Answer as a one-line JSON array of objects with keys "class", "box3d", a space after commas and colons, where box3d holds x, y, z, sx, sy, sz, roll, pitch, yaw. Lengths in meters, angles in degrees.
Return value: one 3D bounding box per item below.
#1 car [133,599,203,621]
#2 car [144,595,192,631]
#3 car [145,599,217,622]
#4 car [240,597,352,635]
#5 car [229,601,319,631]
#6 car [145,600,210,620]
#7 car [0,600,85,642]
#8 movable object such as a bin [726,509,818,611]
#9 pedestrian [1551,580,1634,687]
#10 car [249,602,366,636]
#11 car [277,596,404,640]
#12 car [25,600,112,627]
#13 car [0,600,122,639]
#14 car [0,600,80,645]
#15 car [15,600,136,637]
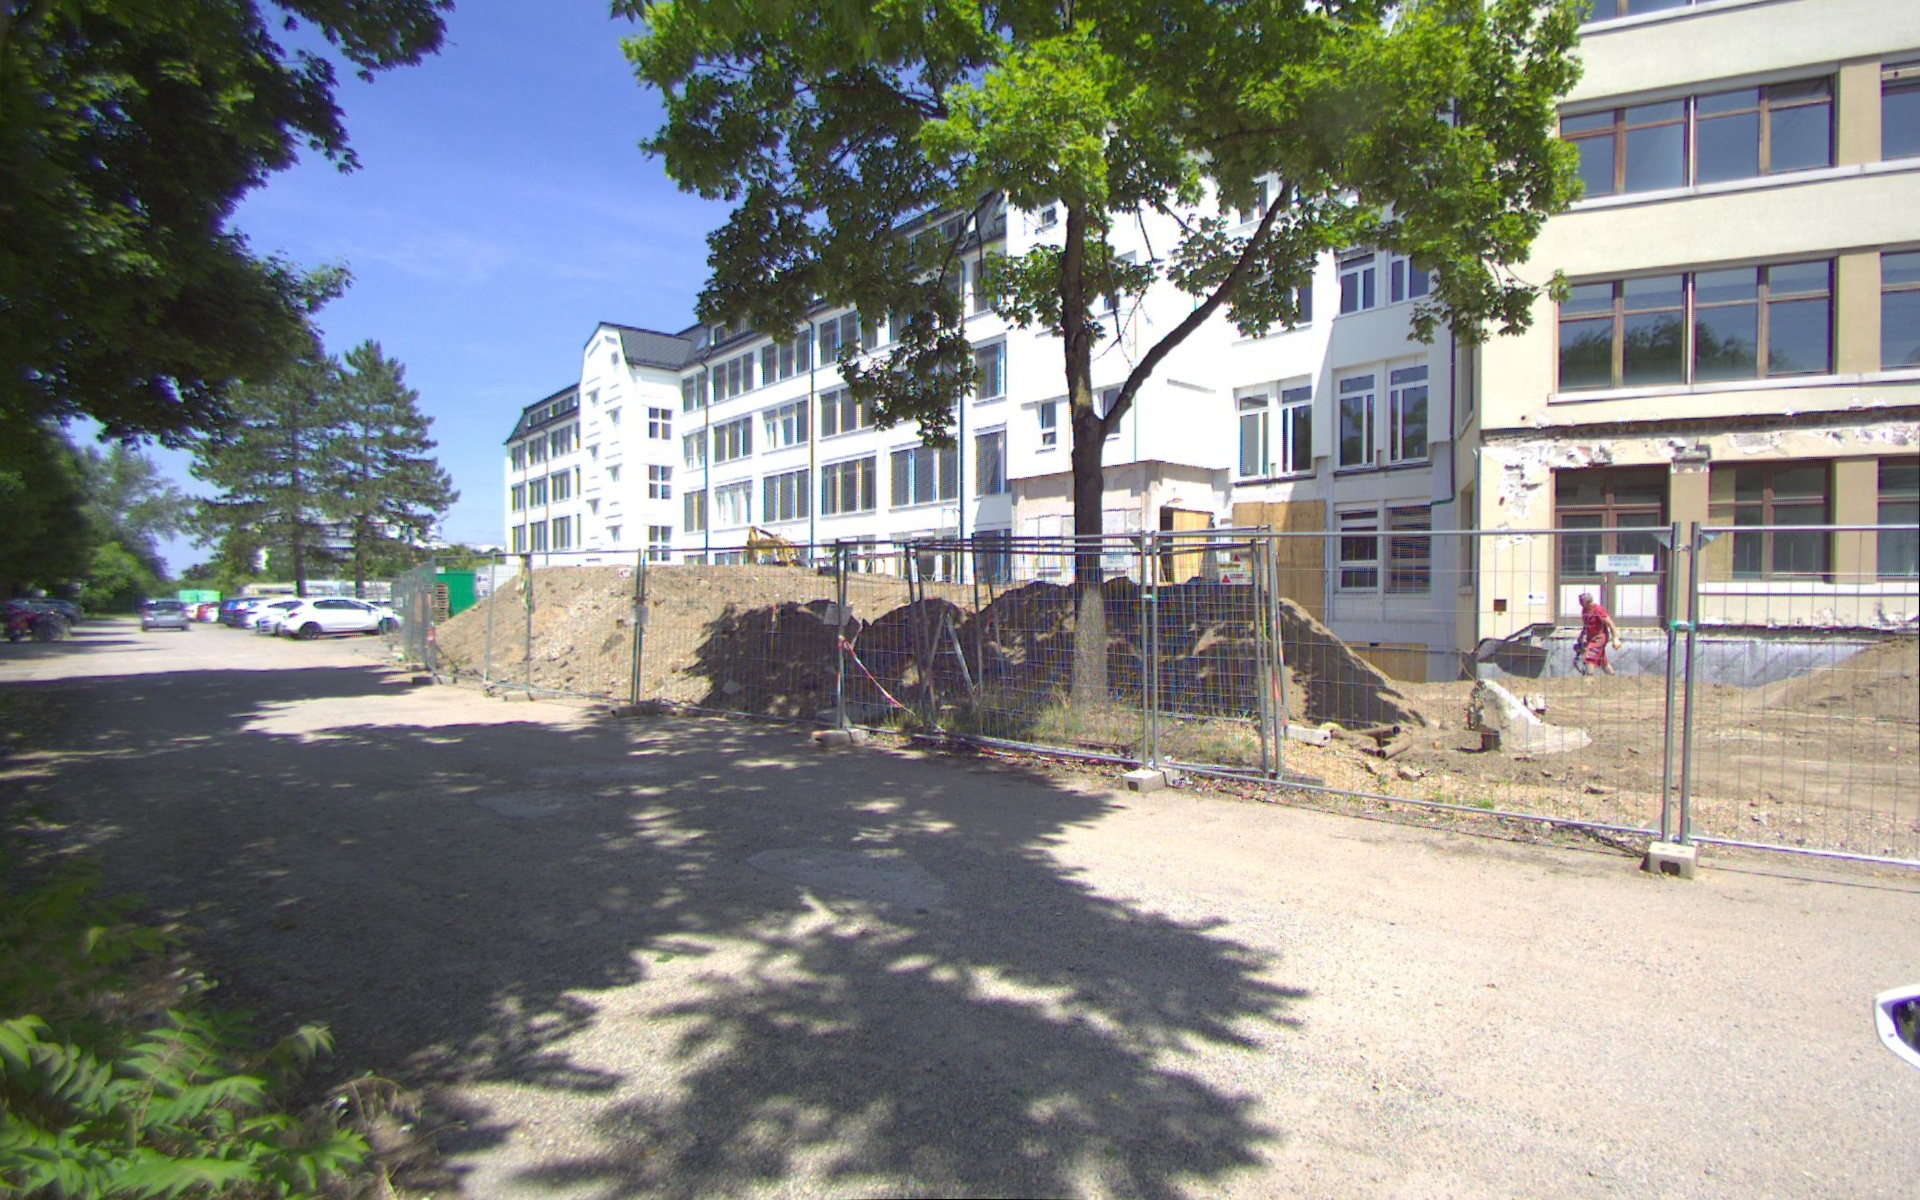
[{"class": "car", "box3d": [-55.752, 0.741, 70.778, 1.433, 1.514, 3.704, 0, -1, 43]}, {"class": "car", "box3d": [-39.036, 0.621, 49.516, 1.796, 1.677, 3.881, 1, -1, -39]}, {"class": "car", "box3d": [-53.416, 0.740, 68.904, 1.433, 1.514, 3.704, 0, -1, 43]}, {"class": "car", "box3d": [-27.959, 0.666, 42.350, 1.433, 1.514, 3.704, 0, -1, 43]}, {"class": "car", "box3d": [-36.034, 0.855, 52.831, 1.433, 1.514, 3.704, 0, -1, 43]}, {"class": "car", "box3d": [-58.713, 0.767, 75.421, 1.433, 1.514, 3.704, 0, -1, 43]}, {"class": "car", "box3d": [-32.826, 0.714, 34.880, 1.370, 1.433, 3.604, 0, -1, 45]}, {"class": "movable object such as a bin", "box3d": [-8.785, -1.709, 46.573, 1.981, 4.430, 5.665, 1, 0, -36]}, {"class": "pedestrian", "box3d": [11.418, 0.586, 18.165, 0.966, 1.871, 0.917, 0, 0, 8]}, {"class": "car", "box3d": [-26.200, 0.769, 40.419, 1.433, 1.295, 3.704, 0, -1, 43]}, {"class": "car", "box3d": [-22.542, 0.649, 36.648, 1.433, 1.514, 3.704, 0, -1, 43]}, {"class": "car", "box3d": [-52.002, 0.786, 58.648, 1.433, 1.514, 3.704, 0, -1, 43]}, {"class": "car", "box3d": [-34.498, 0.738, 38.452, 1.370, 1.433, 3.604, 0, -1, 45]}, {"class": "car", "box3d": [-31.139, 0.722, 32.765, 1.435, 1.433, 3.604, 0, -1, 45]}, {"class": "car", "box3d": [-35.685, 0.751, 40.569, 1.370, 1.433, 3.604, 0, -1, 45]}]
